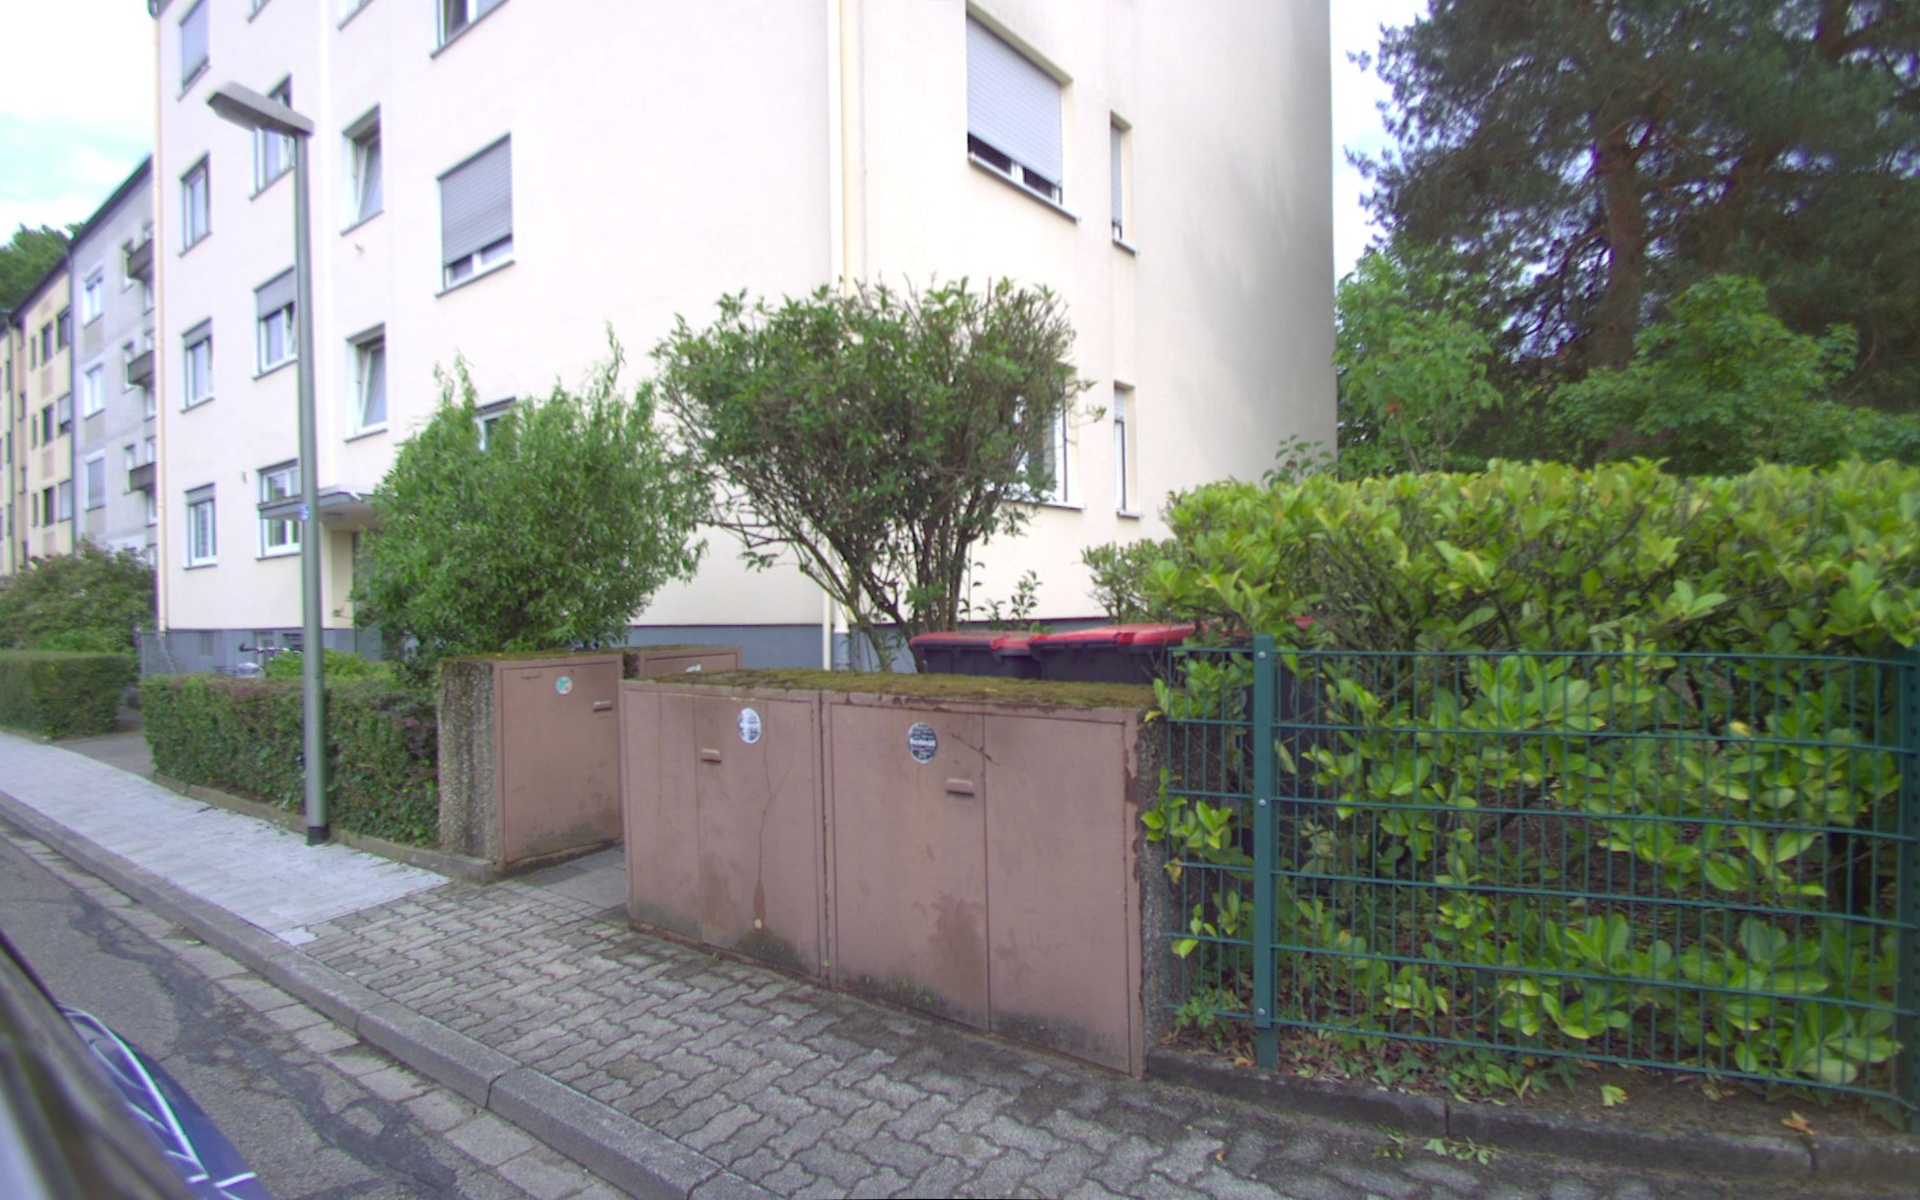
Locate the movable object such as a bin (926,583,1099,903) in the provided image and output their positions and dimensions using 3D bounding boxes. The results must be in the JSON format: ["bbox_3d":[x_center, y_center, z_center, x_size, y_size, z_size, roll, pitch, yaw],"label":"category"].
[{"bbox_3d":[0.217,0.543,4.153,0.514,1.197,0.500,-2,-2,37],"label":"movable object such as a bin"}]

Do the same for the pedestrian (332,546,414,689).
[{"bbox_3d":[-7.510,0.218,12.938,0.756,1.762,0.672,-2,0,42],"label":"pedestrian"}]

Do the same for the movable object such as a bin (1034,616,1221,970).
[{"bbox_3d":[0.631,0.662,3.798,0.514,1.197,0.500,-2,-2,37],"label":"movable object such as a bin"}]

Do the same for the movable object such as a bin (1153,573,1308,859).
[{"bbox_3d":[1.214,0.487,4.532,0.514,1.174,0.500,-2,-2,37],"label":"movable object such as a bin"}]

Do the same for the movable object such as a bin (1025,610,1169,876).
[{"bbox_3d":[0.669,0.652,4.930,0.514,1.197,0.500,-2,-2,37],"label":"movable object such as a bin"}]

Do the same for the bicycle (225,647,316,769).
[{"bbox_3d":[-6.734,1.016,9.860,1.416,1.084,0.315,-1,0,39],"label":"bicycle"}]
